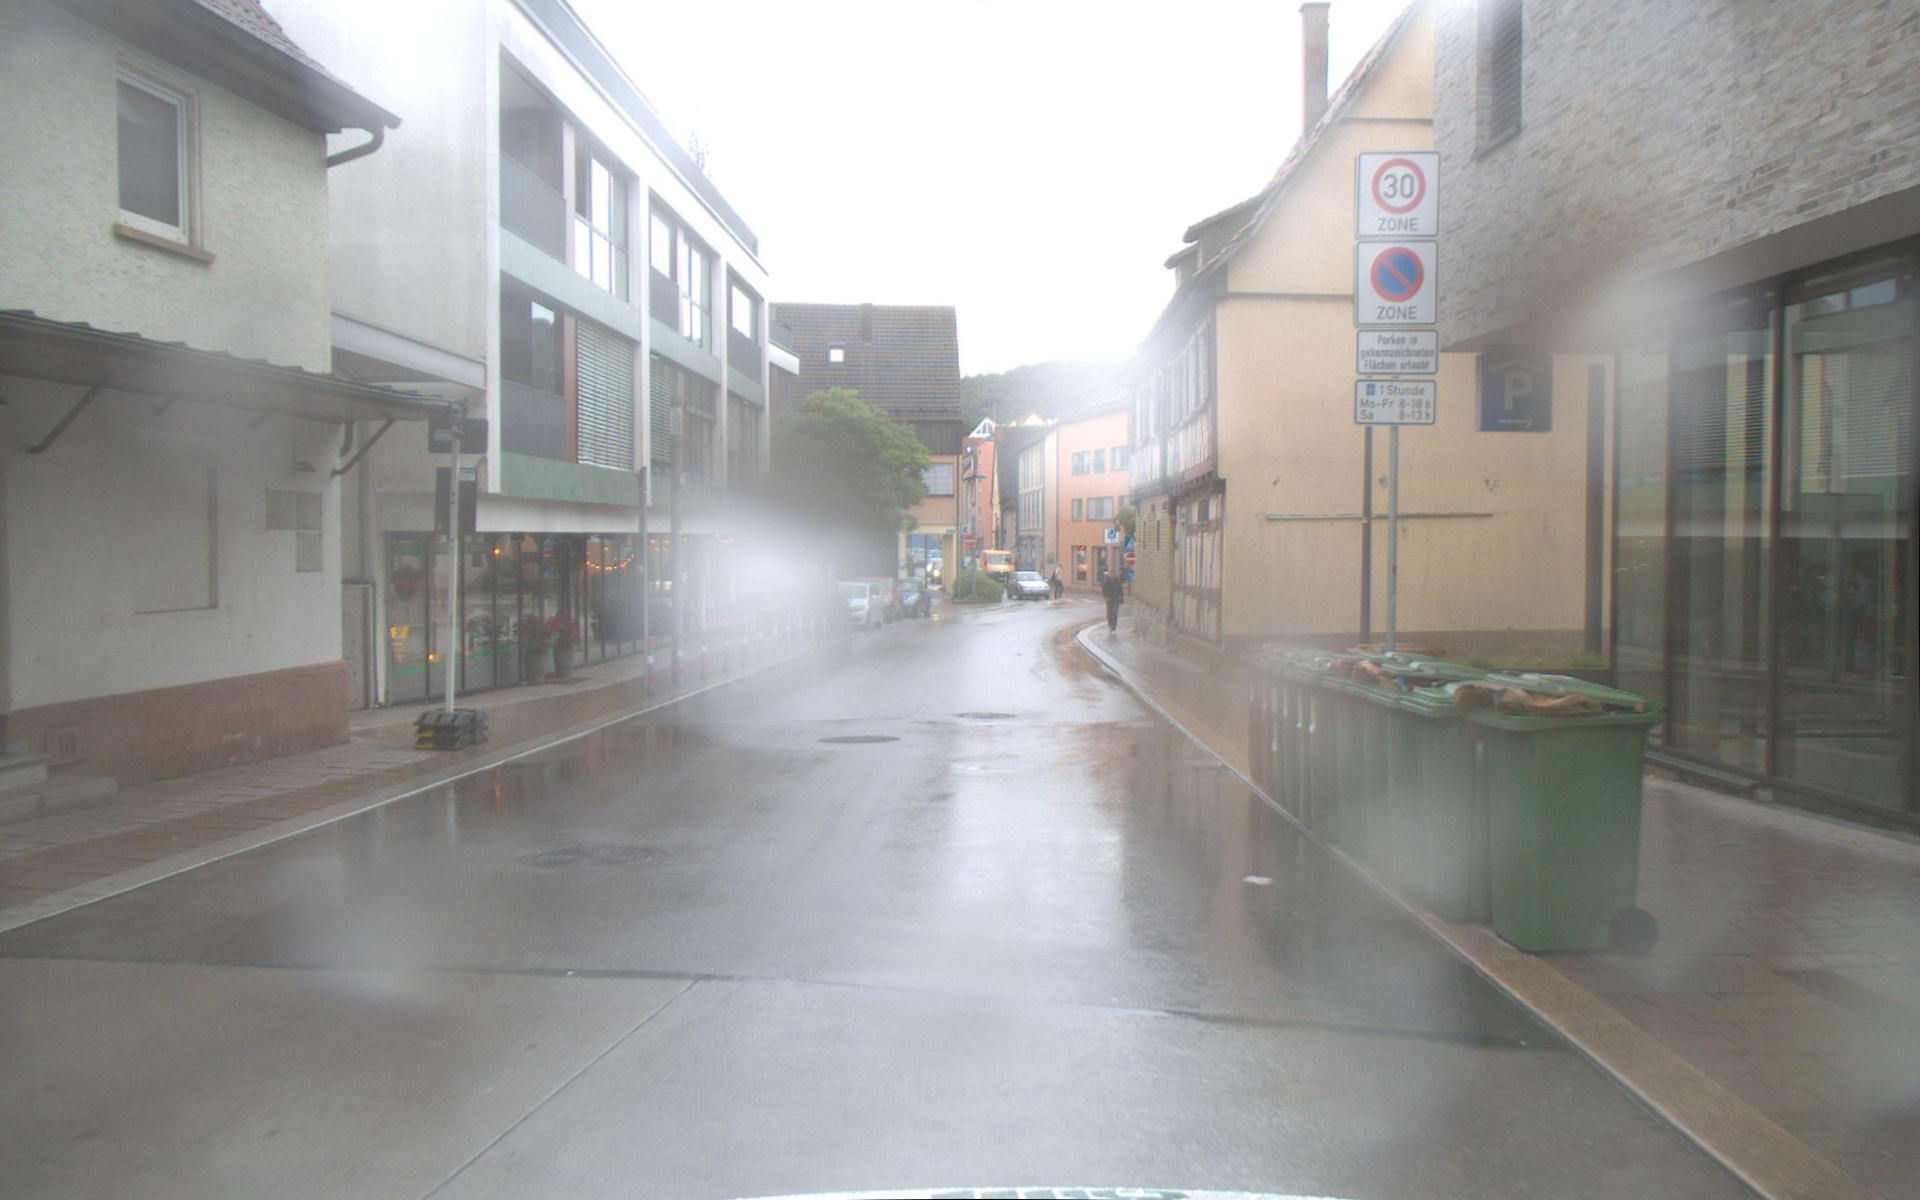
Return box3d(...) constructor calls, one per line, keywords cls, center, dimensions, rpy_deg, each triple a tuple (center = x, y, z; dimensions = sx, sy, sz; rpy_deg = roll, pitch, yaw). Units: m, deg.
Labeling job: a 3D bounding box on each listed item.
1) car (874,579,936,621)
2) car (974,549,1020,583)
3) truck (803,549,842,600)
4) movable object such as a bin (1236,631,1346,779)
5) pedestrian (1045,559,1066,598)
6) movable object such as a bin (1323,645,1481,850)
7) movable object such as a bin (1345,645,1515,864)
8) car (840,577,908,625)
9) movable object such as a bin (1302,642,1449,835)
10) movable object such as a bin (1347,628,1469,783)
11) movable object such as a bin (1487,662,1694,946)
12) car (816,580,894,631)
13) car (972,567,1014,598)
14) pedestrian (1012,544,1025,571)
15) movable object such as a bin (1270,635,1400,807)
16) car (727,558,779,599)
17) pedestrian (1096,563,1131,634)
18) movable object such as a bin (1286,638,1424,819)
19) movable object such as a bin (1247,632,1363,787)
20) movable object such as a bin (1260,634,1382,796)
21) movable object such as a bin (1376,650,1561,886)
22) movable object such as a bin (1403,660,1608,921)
box3d(cls="car", center=(-2.077, -0.039, 63.300), dimensions=(1.678, 1.483, 3.914), rpy_deg=(1, 1, 8))
box3d(cls="car", center=(2.496, -2.281, 112.129), dimensions=(2.066, 2.183, 4.854), rpy_deg=(-2, 1, -11))
box3d(cls="truck", center=(-6.535, -1.235, 78.770), dimensions=(1.564, 2.097, 3.194), rpy_deg=(-2, 6, -2))
box3d(cls="movable object such as a bin", center=(2.629, 0.826, 13.198), dimensions=(0.750, 1.114, 0.581), rpy_deg=(-1, 0, 1))
box3d(cls="pedestrian", center=(4.732, -1.082, 82.200), dimensions=(0.844, 1.948, 0.758), rpy_deg=(0, 1, 23))
box3d(cls="movable object such as a bin", center=(2.546, 0.837, 9.581), dimensions=(0.750, 1.114, 0.581), rpy_deg=(-1, 0, 1))
box3d(cls="movable object such as a bin", center=(2.540, 0.820, 8.993), dimensions=(0.750, 1.114, 0.581), rpy_deg=(-1, 0, 1))
box3d(cls="car", center=(-2.994, 0.002, 58.342), dimensions=(1.749, 1.603, 4.110), rpy_deg=(-1, 1, 6))
box3d(cls="movable object such as a bin", center=(2.544, 0.837, 10.181), dimensions=(0.750, 1.114, 0.581), rpy_deg=(-1, 0, 1))
box3d(cls="movable object such as a bin", center=(3.403, 0.792, 12.601), dimensions=(0.750, 1.114, 0.627), rpy_deg=(-1, 0, 1))
box3d(cls="movable object such as a bin", center=(2.660, 0.842, 7.027), dimensions=(0.649, 1.114, 0.551), rpy_deg=(-1, 0, -1))
box3d(cls="car", center=(-3.297, 0.138, 52.543), dimensions=(1.749, 1.525, 4.458), rpy_deg=(-1, 1, 6))
box3d(cls="car", center=(1.708, -0.931, 86.297), dimensions=(1.681, 1.483, 3.905), rpy_deg=(1, 1, -6))
box3d(cls="pedestrian", center=(4.386, -3.188, 124.115), dimensions=(0.850, 2.048, 0.707), rpy_deg=(0, 1, -7))
box3d(cls="movable object such as a bin", center=(2.569, 0.820, 11.384), dimensions=(0.750, 1.114, 0.581), rpy_deg=(-1, 0, 1))
box3d(cls="car", center=(-9.734, -1.036, 78.013), dimensions=(1.774, 1.645, 4.004), rpy_deg=(0, 5, 3))
box3d(cls="pedestrian", center=(4.231, -0.052, 45.600), dimensions=(0.793, 1.918, 0.907), rpy_deg=(-2, 1, -1))
box3d(cls="movable object such as a bin", center=(2.562, 0.824, 10.790), dimensions=(0.750, 1.114, 0.581), rpy_deg=(-1, 0, 1))
box3d(cls="movable object such as a bin", center=(2.619, 0.821, 12.597), dimensions=(0.750, 1.114, 0.581), rpy_deg=(-1, 0, 1))
box3d(cls="movable object such as a bin", center=(2.609, 0.822, 12.004), dimensions=(0.750, 1.114, 0.581), rpy_deg=(-1, 0, 1))
box3d(cls="movable object such as a bin", center=(2.564, 0.832, 8.389), dimensions=(0.750, 1.114, 0.581), rpy_deg=(-1, 0, 1))
box3d(cls="movable object such as a bin", center=(2.525, 0.863, 7.713), dimensions=(0.725, 1.114, 0.657), rpy_deg=(-1, 0, 0))
